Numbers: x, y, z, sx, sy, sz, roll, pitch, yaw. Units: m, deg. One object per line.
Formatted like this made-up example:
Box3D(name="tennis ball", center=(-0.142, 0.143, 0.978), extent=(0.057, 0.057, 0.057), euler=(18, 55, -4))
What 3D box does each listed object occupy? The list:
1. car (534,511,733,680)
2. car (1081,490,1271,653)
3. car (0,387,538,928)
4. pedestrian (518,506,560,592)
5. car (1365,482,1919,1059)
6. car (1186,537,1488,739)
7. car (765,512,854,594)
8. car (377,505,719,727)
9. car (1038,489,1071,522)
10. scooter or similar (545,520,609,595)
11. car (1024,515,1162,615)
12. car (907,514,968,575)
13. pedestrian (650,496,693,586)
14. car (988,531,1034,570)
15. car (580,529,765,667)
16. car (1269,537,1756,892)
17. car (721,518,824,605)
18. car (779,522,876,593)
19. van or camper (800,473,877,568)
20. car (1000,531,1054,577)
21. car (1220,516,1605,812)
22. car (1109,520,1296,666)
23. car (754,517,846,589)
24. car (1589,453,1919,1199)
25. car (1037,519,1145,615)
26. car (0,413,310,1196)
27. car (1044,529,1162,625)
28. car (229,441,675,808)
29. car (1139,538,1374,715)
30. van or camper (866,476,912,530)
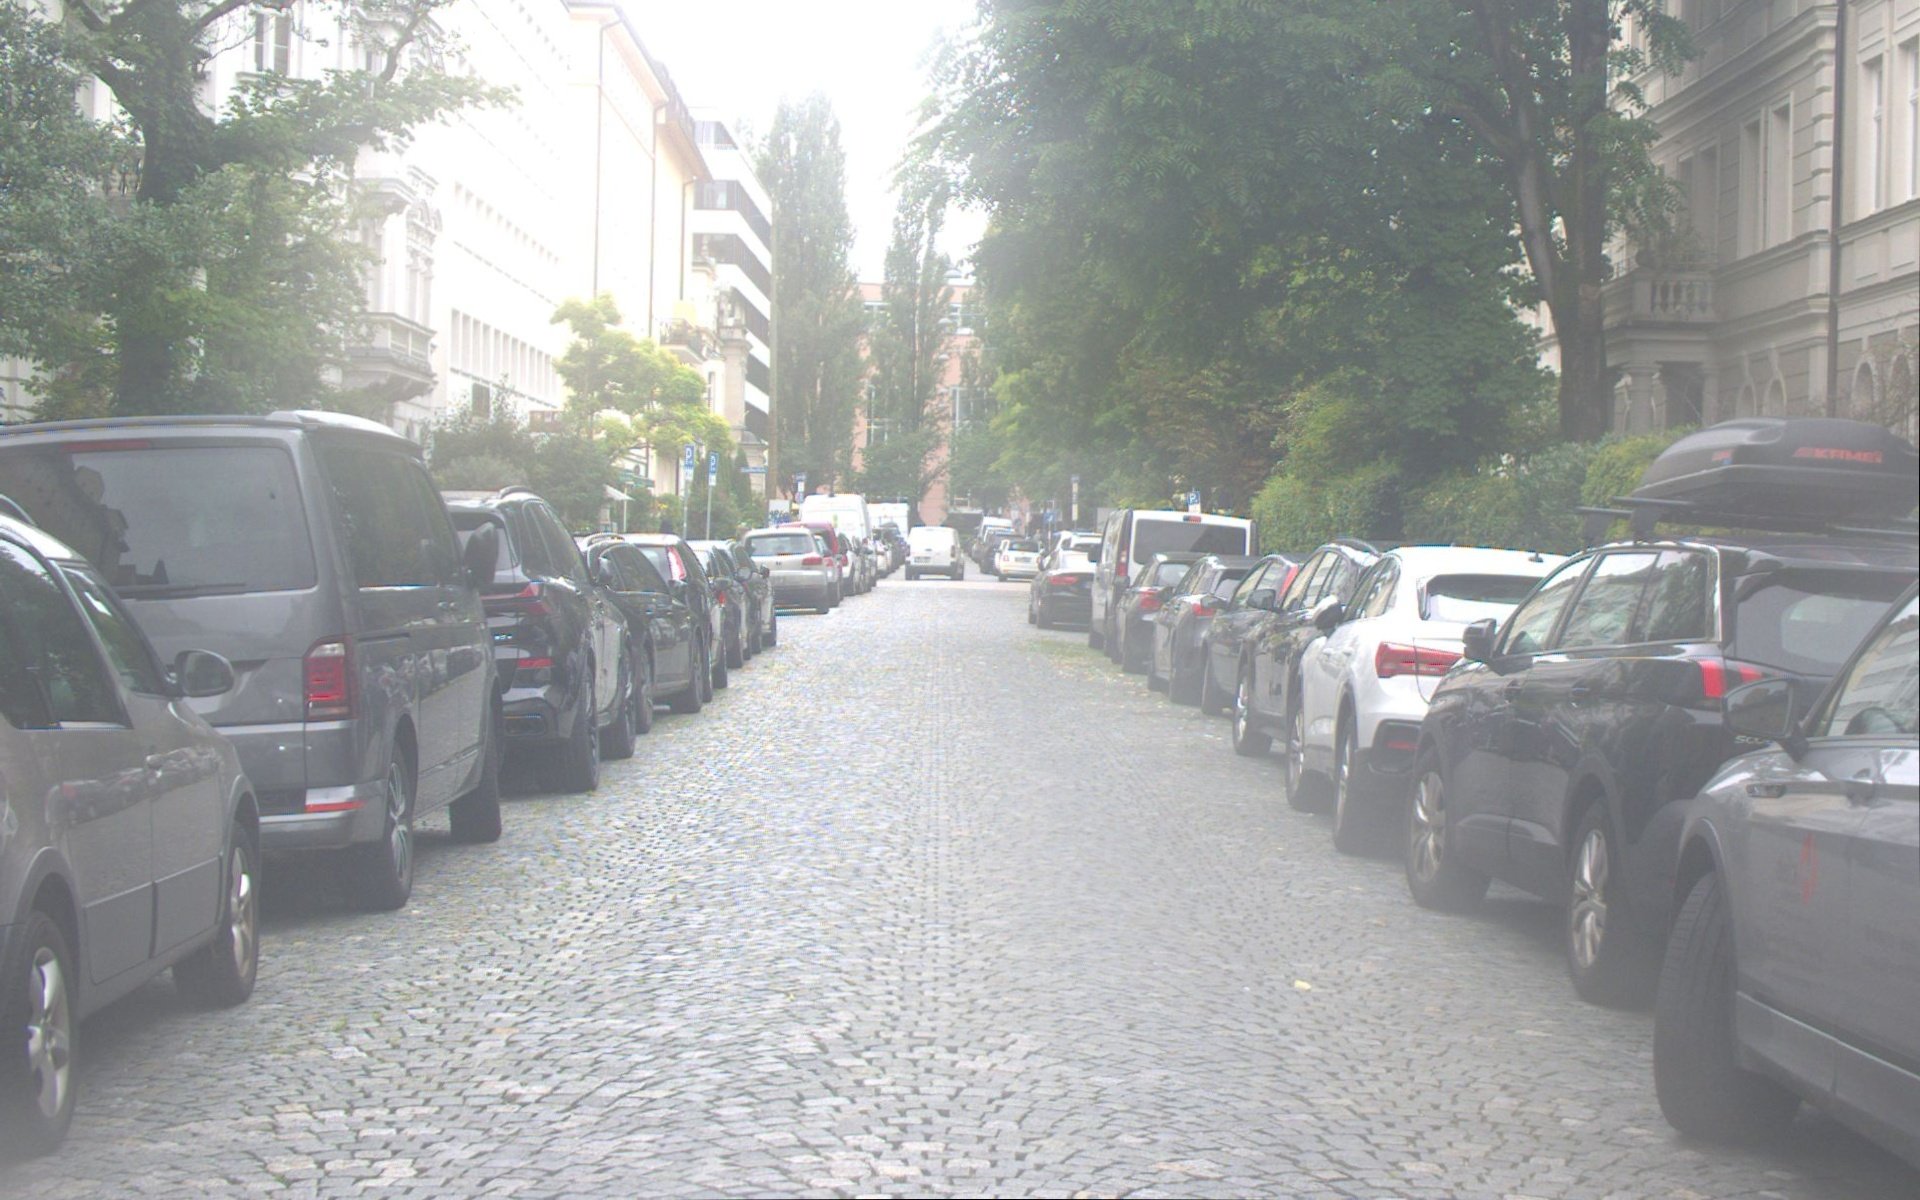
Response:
Box3D(name="car", center=(-2.954, -0.081, 31.730), extent=(1.662, 1.439, 4.172), euler=(0, 1, -3))
Box3D(name="car", center=(2.804, -0.415, 45.816), extent=(1.873, 1.921, 5.165), euler=(4, 1, -2))
Box3D(name="car", center=(-3.002, 0.158, 14.643), extent=(1.873, 1.910, 4.828), euler=(-1, 1, -1))
Box3D(name="pedestrian", center=(-8.416, -1.024, 68.683), extent=(0.717, 1.682, 0.695), euler=(2, 1, -1))
Box3D(name="car", center=(2.931, 0.519, 13.133), extent=(1.873, 1.729, 4.748), euler=(5, 1, -3))
Box3D(name="car", center=(3.077, 0.262, 28.854), extent=(1.694, 1.435, 4.062), euler=(4, 1, -4))
Box3D(name="car", center=(-3.386, -1.080, 78.151), extent=(1.873, 1.770, 4.123), euler=(-2, 1, -1))
Box3D(name="car", center=(-3.076, 0.060, 26.703), extent=(1.978, 1.555, 5.017), euler=(0, 1, 1))
Box3D(name="car", center=(6.097, -6.102, 222.475), extent=(1.993, 2.007, 4.000), euler=(2, 1, 0))
Box3D(name="scooter or similar", center=(-7.580, -0.852, 68.176), extent=(0.941, 1.437, 2.657), euler=(2, 1, 0))
Box3D(name="car", center=(2.197, -0.619, 58.039), extent=(1.873, 1.498, 4.512), euler=(4, 1, -2))
Box3D(name="car", center=(-0.751, -1.939, 118.908), extent=(1.993, 2.007, 4.000), euler=(2, 1, 0))
Box3D(name="pedestrian", center=(-6.285, -1.290, 74.827), extent=(0.792, 1.911, 0.759), euler=(3, 1, 0))
Box3D(name="car", center=(2.060, -2.039, 140.187), extent=(1.790, 1.515, 4.000), euler=(2, 1, 0))
Box3D(name="car", center=(-3.193, -0.064, 38.924), extent=(1.783, 1.412, 4.497), euler=(-2, 1, -1))
Box3D(name="car", center=(2.768, 0.490, 18.268), extent=(1.873, 1.485, 4.617), euler=(4, 2, 2))
Box3D(name="car", center=(-3.559, -0.760, 65.750), extent=(1.873, 1.574, 4.256), euler=(-1, 1, -2))
Box3D(name="car", center=(-3.203, -1.035, 83.620), extent=(1.873, 1.574, 4.208), euler=(4, 1, 3))
Box3D(name="van or camper", center=(-3.458, -2.268, 98.549), extent=(1.993, 2.643, 4.000), euler=(-1, 1, 0))
Box3D(name="car", center=(2.307, -1.600, 119.670), extent=(1.790, 1.515, 4.000), euler=(2, 1, 0))
Box3D(name="car", center=(2.927, 0.344, 23.244), extent=(1.873, 1.664, 4.657), euler=(4, 1, 0))
Box3D(name="car", center=(2.781, -0.117, 40.345), extent=(1.837, 1.485, 4.421), euler=(4, 1, 1))
Box3D(name="car", center=(-3.330, -1.004, 71.872), extent=(1.873, 1.446, 4.208), euler=(0, 1, -2))
Box3D(name="car", center=(2.738, 0.627, 7.354), extent=(1.873, 1.729, 4.892), euler=(4, 1, 1))
Box3D(name="car", center=(2.611, -0.694, 69.668), extent=(1.873, 1.727, 4.593), euler=(4, 1, 0))
Box3D(name="car", center=(-3.105, 0.414, 9.745), extent=(1.865, 1.729, 4.404), euler=(-1, 1, -3))
Box3D(name="car", center=(2.589, -0.454, 63.265), extent=(1.817, 1.574, 4.208), euler=(5, 1, -1))
Box3D(name="car", center=(-2.943, 0.076, 21.051), extent=(1.993, 1.910, 5.178), euler=(-2, 1, -1))
Box3D(name="car", center=(2.794, 0.206, 33.246), extent=(1.713, 1.467, 4.269), euler=(4, 1, -1))
Box3D(name="van or camper", center=(-3.772, -5.134, 183.080), extent=(2.256, 2.733, 5.098), euler=(2, 1, 0))
